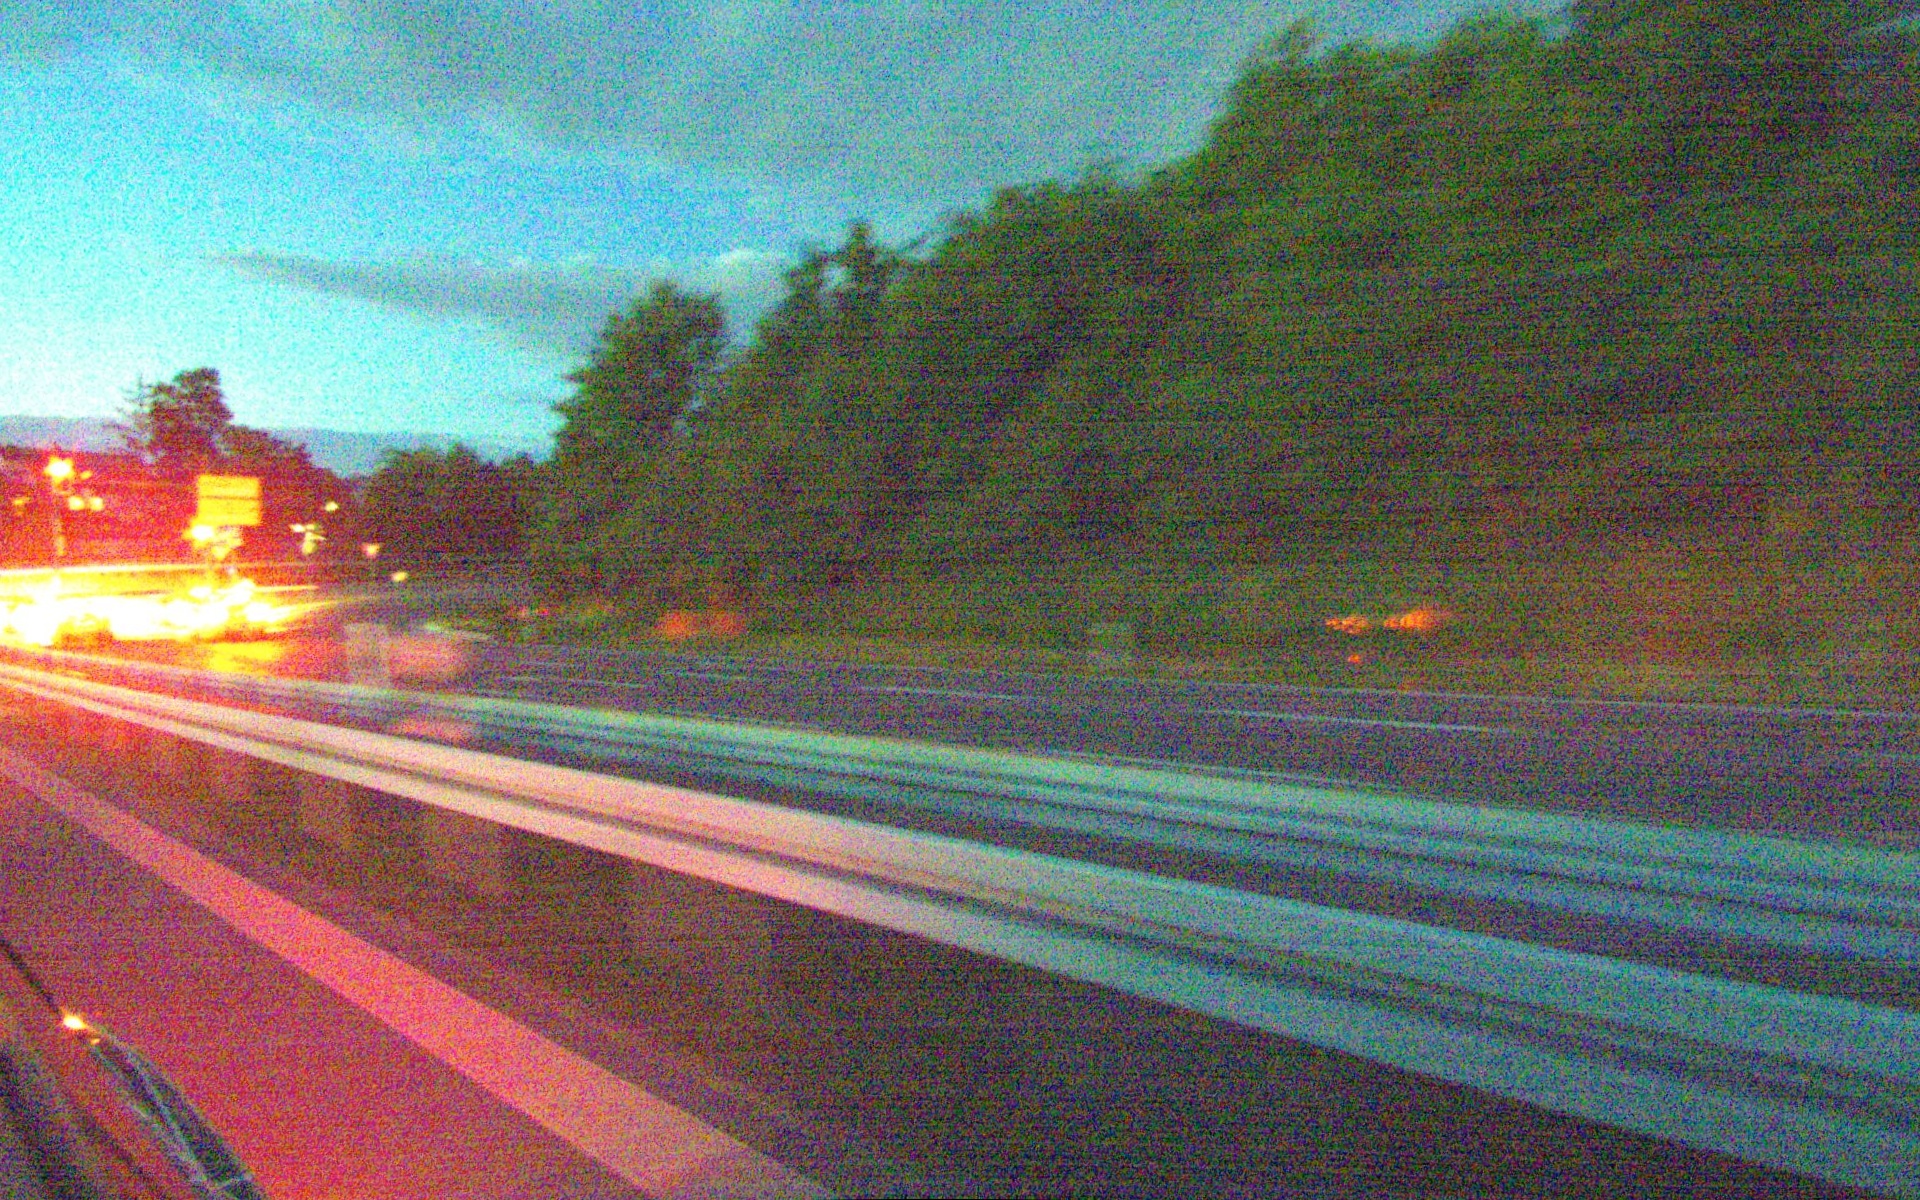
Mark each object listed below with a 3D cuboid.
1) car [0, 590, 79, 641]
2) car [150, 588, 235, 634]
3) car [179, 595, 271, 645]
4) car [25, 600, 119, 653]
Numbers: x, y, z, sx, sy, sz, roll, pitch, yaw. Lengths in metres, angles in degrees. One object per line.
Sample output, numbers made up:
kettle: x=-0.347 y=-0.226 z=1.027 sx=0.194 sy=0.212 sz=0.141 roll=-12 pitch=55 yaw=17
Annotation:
car: x=-33.553 y=0.517 z=36.757 sx=3.867 sy=1.485 sz=1.682 roll=4 pitch=6 yaw=40
car: x=-29.138 y=0.374 z=38.383 sx=3.999 sy=1.471 sz=1.736 roll=3 pitch=6 yaw=41
car: x=-24.506 y=0.618 z=33.706 sx=3.811 sy=1.470 sz=1.666 roll=2 pitch=3 yaw=42
car: x=-27.832 y=0.788 z=31.678 sx=3.983 sy=1.455 sz=1.692 roll=1 pitch=3 yaw=42
